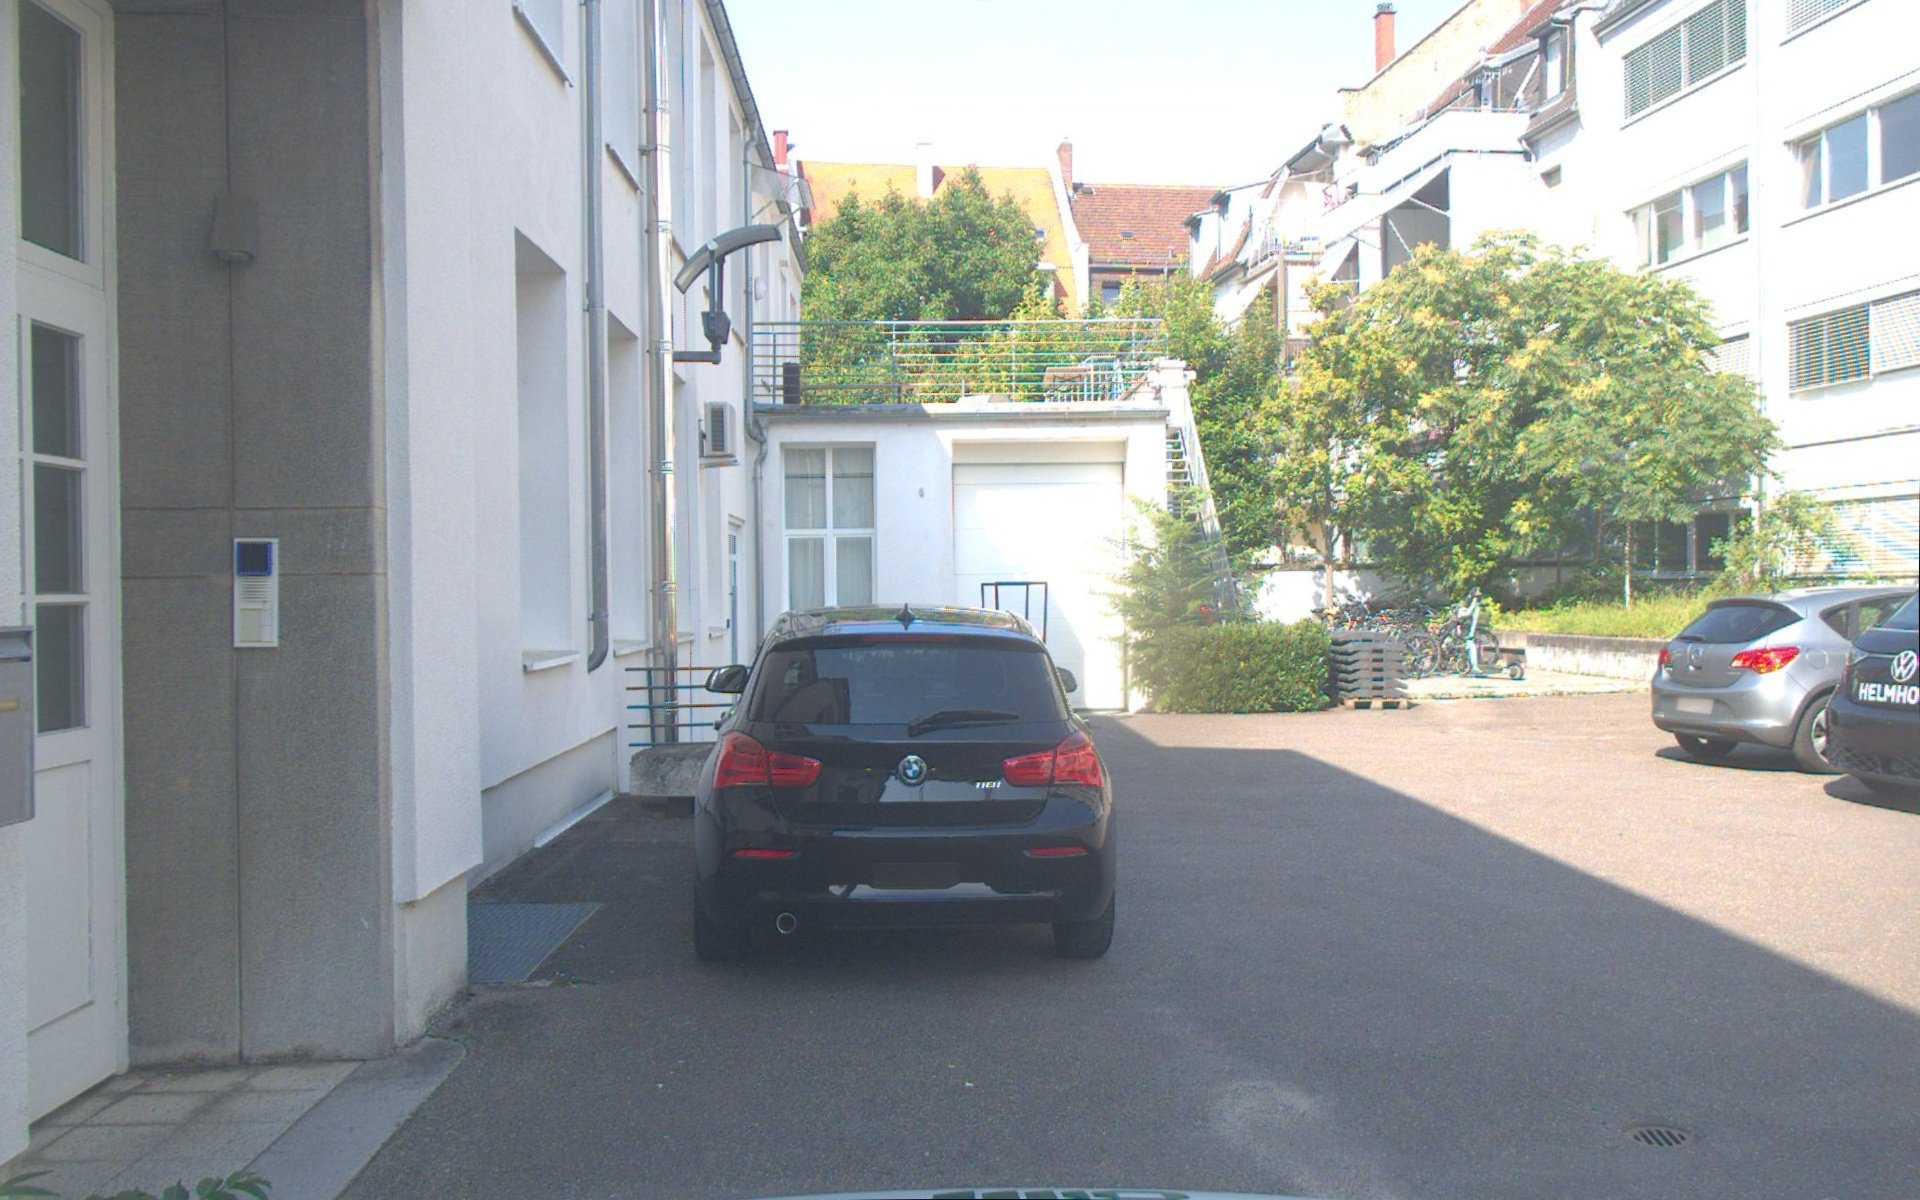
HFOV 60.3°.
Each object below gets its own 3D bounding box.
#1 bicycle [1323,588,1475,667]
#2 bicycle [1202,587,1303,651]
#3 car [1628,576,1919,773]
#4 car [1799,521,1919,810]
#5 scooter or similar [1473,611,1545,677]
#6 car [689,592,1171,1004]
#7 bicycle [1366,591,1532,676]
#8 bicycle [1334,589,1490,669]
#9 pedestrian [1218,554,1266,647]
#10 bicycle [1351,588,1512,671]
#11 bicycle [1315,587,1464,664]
[{"bbox_3d":[7.185,0.440,27.091,2.362,1.268,0.526,0,0,-2],"label":"bicycle"},{"bbox_3d":[5.753,0.365,32.506,1.957,1.163,0.487,-2,1,-19],"label":"bicycle"},{"bbox_3d":[7.962,0.562,14.314,3.832,1.491,1.656,-1,1,-15],"label":"car"},{"bbox_3d":[8.324,0.377,11.415,4.258,1.891,1.909,-1,1,-12],"label":"car"},{"bbox_3d":[8.154,0.639,24.565,0.357,0.940,0.985,0,0,-39],"label":"scooter or similar"},{"bbox_3d":[-0.251,0.704,8.085,1.757,1.453,4.133,0,1,-4],"label":"car"},{"bbox_3d":[7.378,0.496,24.970,2.362,1.268,0.526,0,0,-2],"label":"bicycle"},{"bbox_3d":[7.209,0.456,26.402,2.362,1.268,0.526,0,0,-2],"label":"bicycle"},{"bbox_3d":[5.556,0.010,32.611,0.600,1.802,0.856,0,0,-20],"label":"pedestrian"},{"bbox_3d":[7.304,0.455,25.664,2.362,1.268,0.526,0,0,-2],"label":"bicycle"},{"bbox_3d":[7.191,0.416,27.719,2.362,1.268,0.526,0,0,-2],"label":"bicycle"}]
